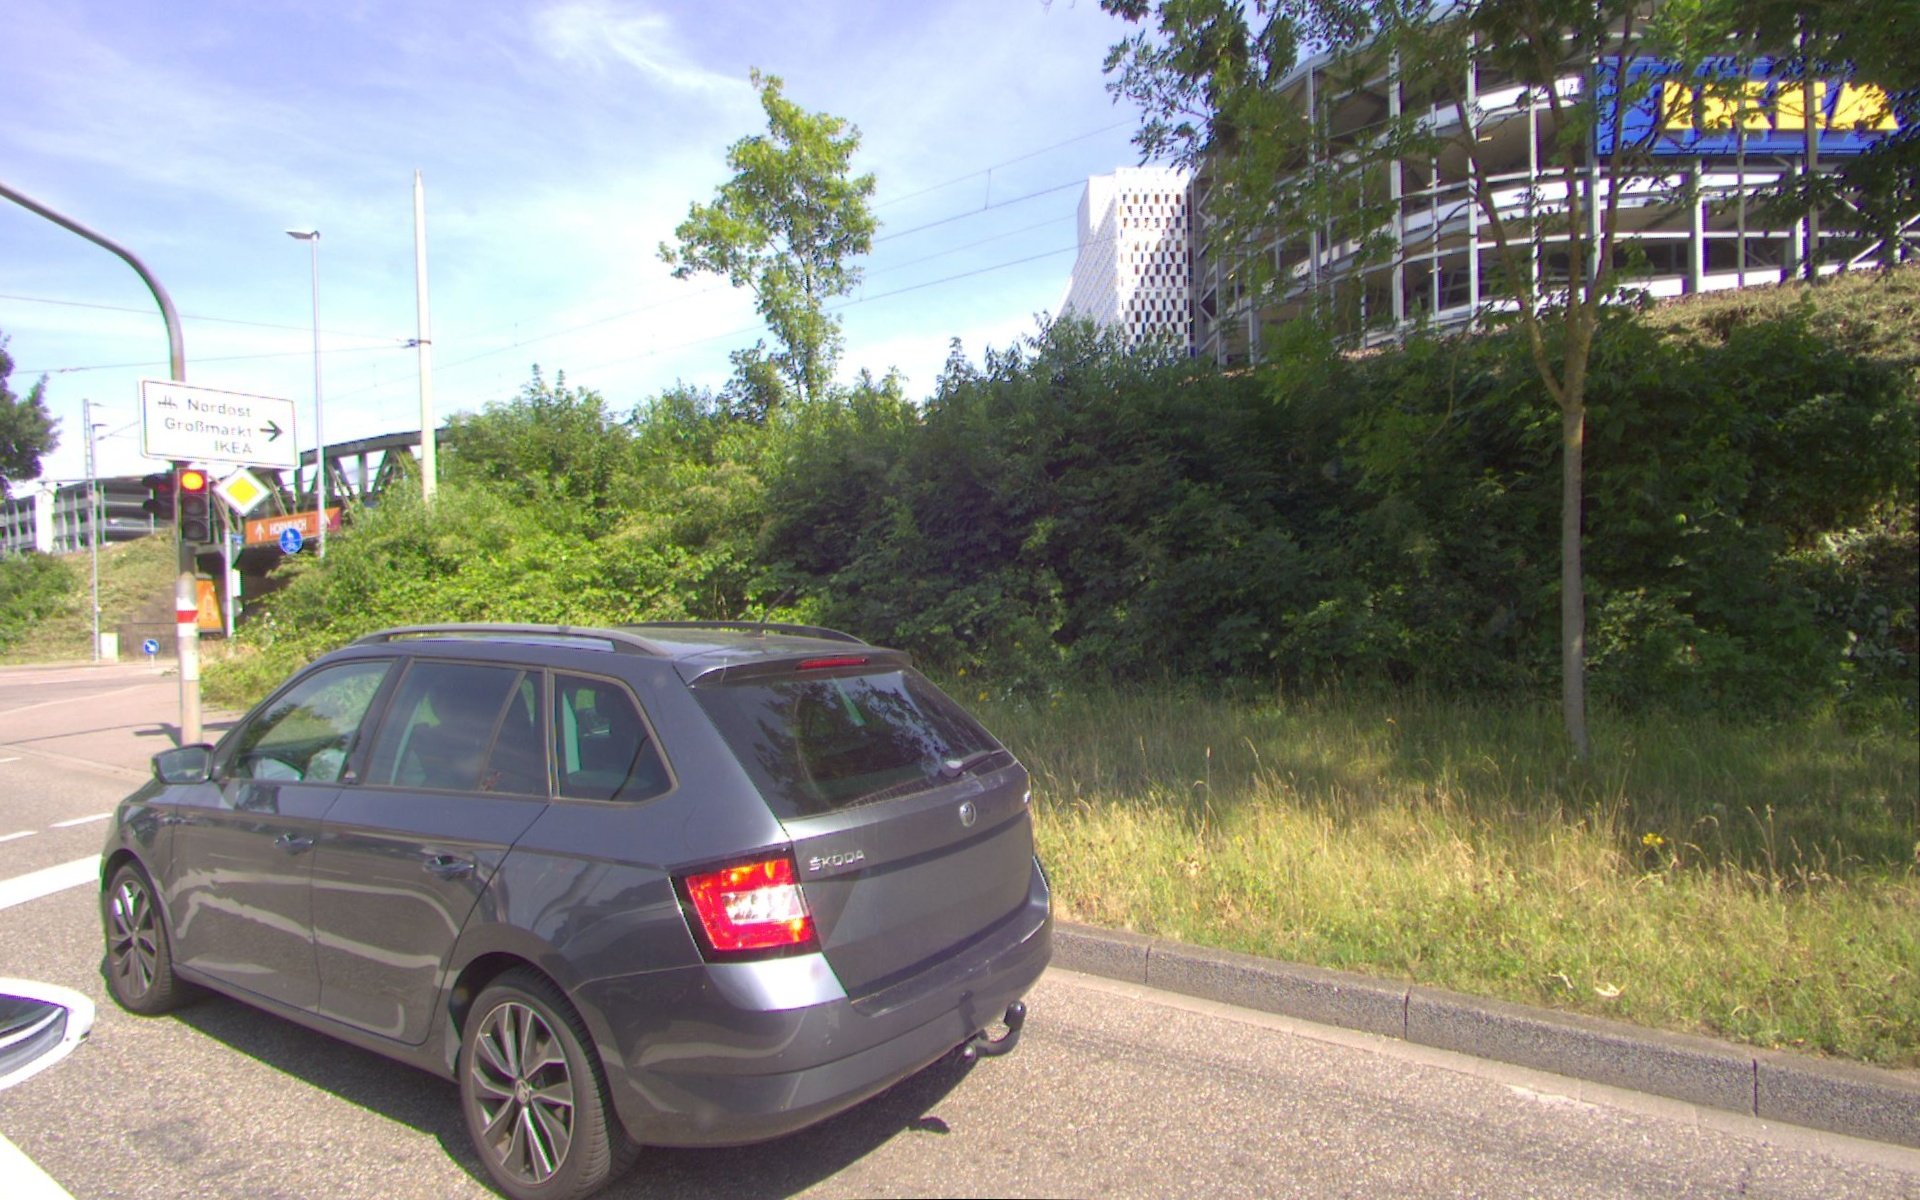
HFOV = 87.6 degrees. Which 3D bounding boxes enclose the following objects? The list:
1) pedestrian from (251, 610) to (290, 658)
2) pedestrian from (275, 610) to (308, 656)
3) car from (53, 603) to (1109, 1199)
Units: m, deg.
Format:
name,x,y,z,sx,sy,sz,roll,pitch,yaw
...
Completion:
name,x,y,z,sx,sy,sz,roll,pitch,yaw
pedestrian,-23.921,1.159,34.743,0.766,1.633,0.866,-1,0,32
pedestrian,-23.719,1.176,35.536,0.766,1.600,0.728,-1,0,32
car,-1.608,0.796,3.767,3.978,1.472,1.671,-1,-2,32
